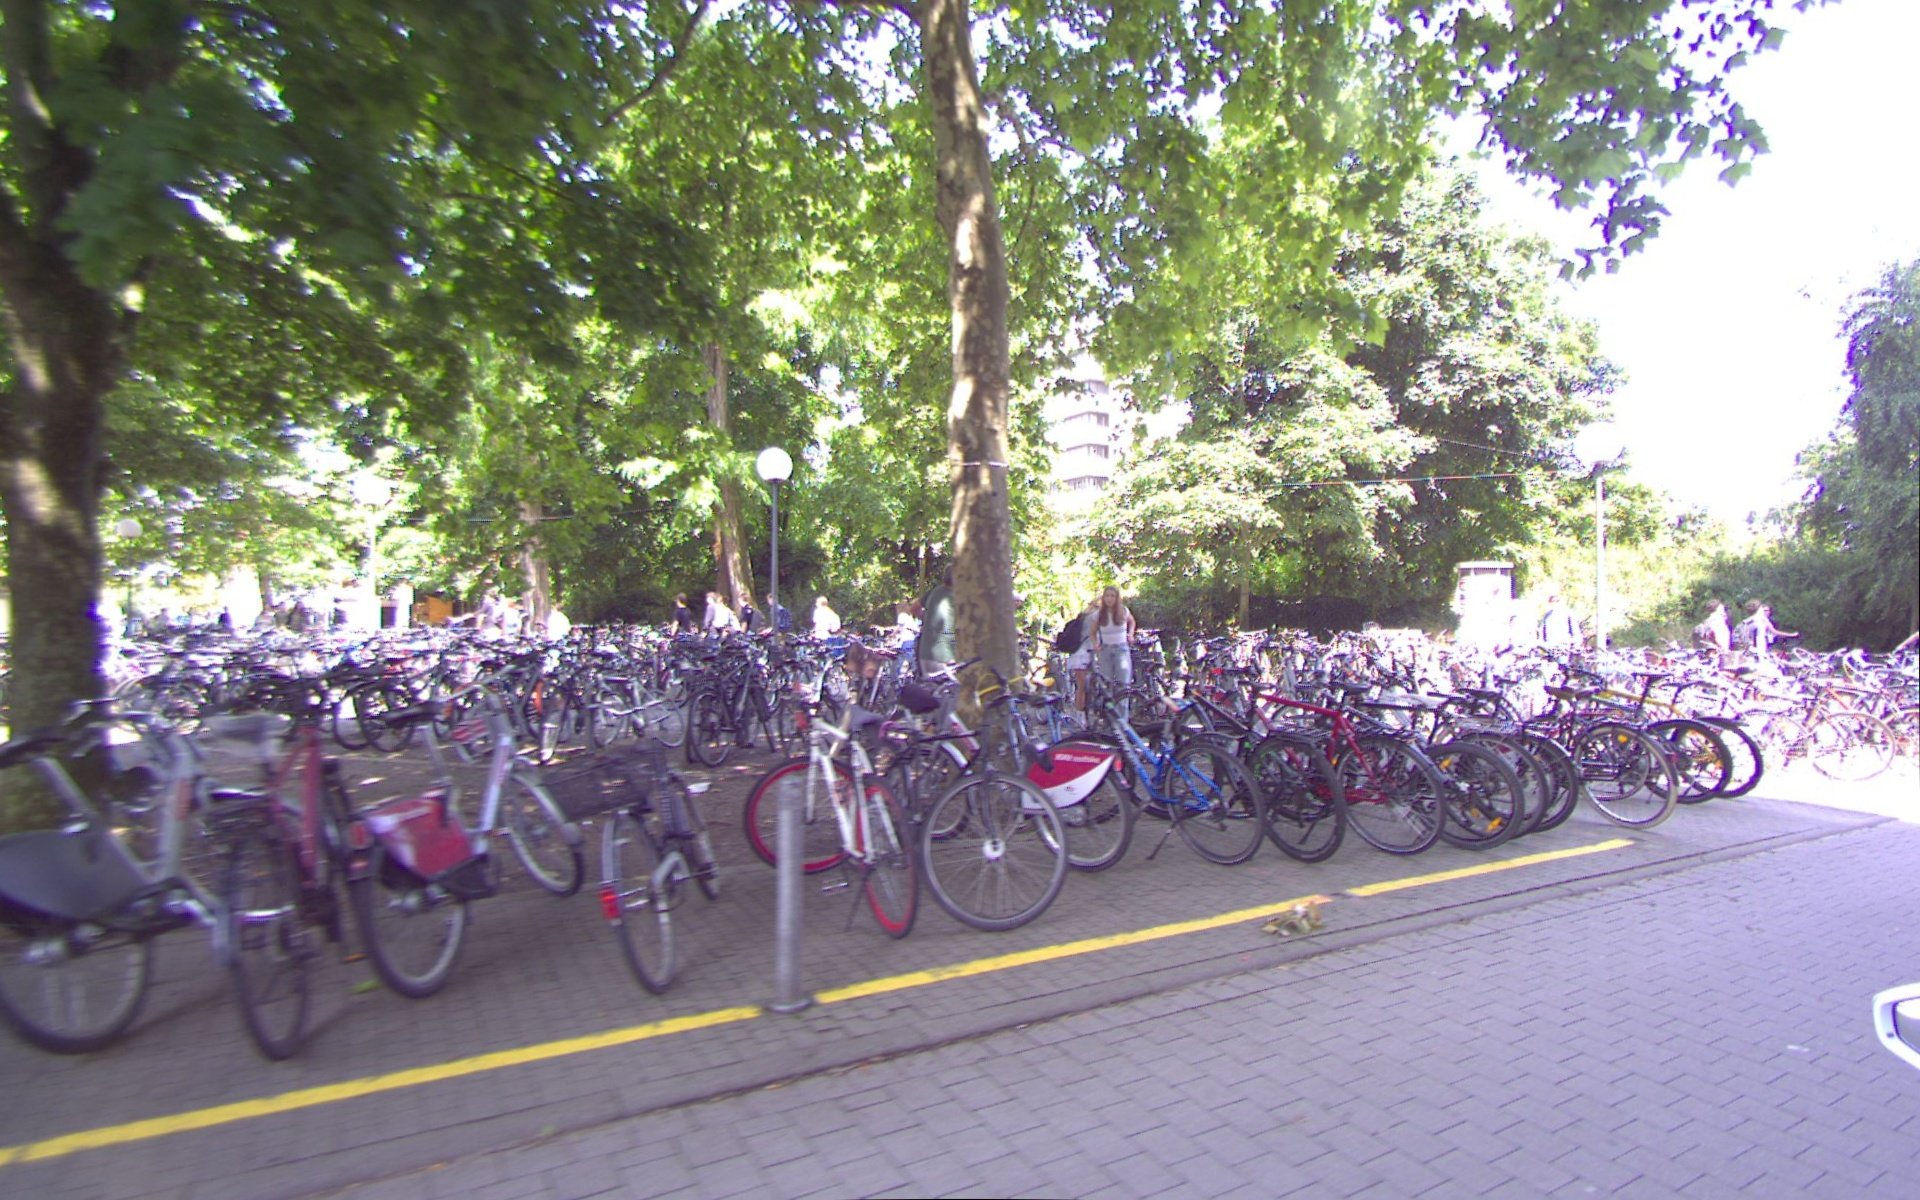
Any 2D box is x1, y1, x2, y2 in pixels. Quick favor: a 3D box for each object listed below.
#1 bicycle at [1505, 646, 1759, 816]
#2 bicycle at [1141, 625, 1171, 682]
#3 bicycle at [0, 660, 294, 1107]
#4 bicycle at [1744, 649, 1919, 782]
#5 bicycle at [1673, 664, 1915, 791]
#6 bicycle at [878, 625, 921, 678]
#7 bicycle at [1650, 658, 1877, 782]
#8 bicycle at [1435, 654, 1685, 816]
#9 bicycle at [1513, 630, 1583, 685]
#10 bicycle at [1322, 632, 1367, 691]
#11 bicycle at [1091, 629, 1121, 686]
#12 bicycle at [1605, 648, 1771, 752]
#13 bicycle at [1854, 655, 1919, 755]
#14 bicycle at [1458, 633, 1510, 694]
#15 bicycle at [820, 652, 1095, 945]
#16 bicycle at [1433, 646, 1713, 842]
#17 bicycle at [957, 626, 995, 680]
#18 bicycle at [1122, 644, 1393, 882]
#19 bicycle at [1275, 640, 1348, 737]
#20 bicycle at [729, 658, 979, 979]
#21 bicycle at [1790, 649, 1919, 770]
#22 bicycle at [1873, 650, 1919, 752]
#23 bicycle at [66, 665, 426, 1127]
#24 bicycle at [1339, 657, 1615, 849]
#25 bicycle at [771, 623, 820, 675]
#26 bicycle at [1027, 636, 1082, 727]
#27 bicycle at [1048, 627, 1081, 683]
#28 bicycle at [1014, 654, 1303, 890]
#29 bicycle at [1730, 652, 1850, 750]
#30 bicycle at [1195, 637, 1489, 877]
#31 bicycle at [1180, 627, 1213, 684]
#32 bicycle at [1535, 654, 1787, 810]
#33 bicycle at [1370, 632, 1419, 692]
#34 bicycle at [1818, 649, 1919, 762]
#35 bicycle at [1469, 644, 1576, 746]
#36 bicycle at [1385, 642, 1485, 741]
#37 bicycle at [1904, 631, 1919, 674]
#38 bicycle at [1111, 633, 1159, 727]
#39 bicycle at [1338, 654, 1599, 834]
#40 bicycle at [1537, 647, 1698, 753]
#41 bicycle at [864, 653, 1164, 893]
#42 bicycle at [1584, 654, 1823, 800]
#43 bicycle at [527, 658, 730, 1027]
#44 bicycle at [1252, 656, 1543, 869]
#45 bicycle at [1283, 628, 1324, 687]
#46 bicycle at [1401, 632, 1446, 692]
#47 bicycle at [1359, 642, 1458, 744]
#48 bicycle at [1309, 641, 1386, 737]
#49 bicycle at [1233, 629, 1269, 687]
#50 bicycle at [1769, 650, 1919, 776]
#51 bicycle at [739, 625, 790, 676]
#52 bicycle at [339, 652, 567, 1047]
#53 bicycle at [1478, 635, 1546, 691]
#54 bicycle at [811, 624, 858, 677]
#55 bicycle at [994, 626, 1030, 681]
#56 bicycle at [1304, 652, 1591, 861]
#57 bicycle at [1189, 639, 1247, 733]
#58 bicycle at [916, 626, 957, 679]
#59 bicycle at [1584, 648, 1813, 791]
[{"bbox_3d":[5.519,1.021,8.342,0.470,1.203,1.679,1,0,-41],"label":"bicycle"},{"bbox_3d":[4.147,1.110,21.309,0.507,1.125,1.779,1,0,8],"label":"bicycle"},{"bbox_3d":[-2.921,0.811,3.463,0.553,1.123,1.624,1,0,-16],"label":"bicycle"},{"bbox_3d":[8.874,1.121,9.975,1.676,1.184,0.471,1,0,44],"label":"bicycle"},{"bbox_3d":[7.765,1.164,9.432,1.667,1.032,0.474,1,0,25],"label":"bicycle"},{"bbox_3d":[-1.362,1.147,22.722,0.507,1.125,1.779,1,0,12],"label":"bicycle"},{"bbox_3d":[7.881,1.148,9.934,1.667,1.076,0.474,1,0,25],"label":"bicycle"},{"bbox_3d":[4.908,1.049,8.310,0.561,1.123,1.679,1,0,-41],"label":"bicycle"},{"bbox_3d":[12.996,1.257,22.249,0.465,1.125,1.778,1,0,-1],"label":"bicycle"},{"bbox_3d":[8.006,1.252,20.970,0.464,1.125,1.779,1,0,8],"label":"bicycle"},{"bbox_3d":[3.128,1.196,21.474,0.507,1.125,1.779,1,0,12],"label":"bicycle"},{"bbox_3d":[8.809,1.175,12.238,0.466,1.098,1.693,1,0,-17],"label":"bicycle"},{"bbox_3d":[11.321,1.222,11.399,0.469,1.106,1.682,1,0,-36],"label":"bicycle"},{"bbox_3d":[10.389,1.231,19.960,0.464,1.125,1.779,1,0,13],"label":"bicycle"},{"bbox_3d":[-0.090,0.877,5.067,0.492,1.141,1.724,1,0,-34],"label":"bicycle"},{"bbox_3d":[4.467,0.983,7.427,0.532,1.214,1.681,1,0,-38],"label":"bicycle"},{"bbox_3d":[0.379,1.171,22.556,0.507,1.125,1.779,1,0,12],"label":"bicycle"},{"bbox_3d":[1.756,0.905,6.210,0.491,1.194,1.726,1,0,-30],"label":"bicycle"},{"bbox_3d":[4.477,1.096,12.876,0.464,1.098,1.700,1,0,5],"label":"bicycle"},{"bbox_3d":[-0.572,0.875,4.675,0.491,1.123,1.727,1,0,-30],"label":"bicycle"},{"bbox_3d":[9.921,1.147,10.638,0.466,1.184,1.775,1,0,-17],"label":"bicycle"},{"bbox_3d":[11.731,1.201,11.617,0.470,1.174,1.681,1,0,-38],"label":"bicycle"},{"bbox_3d":[-2.333,0.837,3.499,0.489,1.123,1.624,1,0,-16],"label":"bicycle"},{"bbox_3d":[3.601,1.008,7.126,0.470,1.123,1.679,1,0,-41],"label":"bicycle"},{"bbox_3d":[-3.775,1.112,23.219,0.507,1.125,1.779,1,0,12],"label":"bicycle"},{"bbox_3d":[1.293,1.060,13.546,0.464,1.098,1.700,1,0,14],"label":"bicycle"},{"bbox_3d":[2.269,1.158,21.678,0.507,1.125,1.779,1,0,12],"label":"bicycle"},{"bbox_3d":[1.110,0.926,5.964,0.493,1.123,1.719,1,0,-42],"label":"bicycle"},{"bbox_3d":[10.096,1.196,12.203,1.678,1.098,0.505,1,0,-28],"label":"bicycle"},{"bbox_3d":[2.328,0.890,6.326,0.492,1.252,1.722,1,0,-37],"label":"bicycle"},{"bbox_3d":[5.007,1.149,21.344,0.507,1.125,1.779,1,0,8],"label":"bicycle"},{"bbox_3d":[5.961,1.064,8.618,0.578,1.123,1.679,1,0,-41],"label":"bicycle"},{"bbox_3d":[8.858,1.247,20.535,0.464,1.125,1.779,1,0,8],"label":"bicycle"},{"bbox_3d":[10.631,1.174,11.093,0.469,1.184,1.682,1,0,-36],"label":"bicycle"},{"bbox_3d":[6.824,1.116,12.263,0.464,1.098,1.700,1,0,5],"label":"bicycle"},{"bbox_3d":[5.949,1.107,12.659,0.465,1.098,1.700,1,0,1],"label":"bicycle"},{"bbox_3d":[25.225,1.370,25.789,1.669,1.061,0.473,2,1,-9],"label":"bicycle"},{"bbox_3d":[2.263,1.006,13.114,0.464,1.098,1.700,1,0,5],"label":"bicycle"},{"bbox_3d":[3.739,1.005,7.509,0.470,1.123,1.679,1,0,-41],"label":"bicycle"},{"bbox_3d":[7.759,1.141,11.943,0.466,1.098,1.693,1,0,-16],"label":"bicycle"},{"bbox_3d":[0.263,0.906,5.747,1.712,1.123,0.495,1,0,36],"label":"bicycle"},{"bbox_3d":[6.581,1.089,8.990,1.670,1.123,0.473,1,0,33],"label":"bicycle"},{"bbox_3d":[-1.294,0.849,4.201,0.564,1.123,1.737,1,0,-11],"label":"bicycle"},{"bbox_3d":[2.765,0.965,6.512,0.493,1.123,1.679,1,0,-40],"label":"bicycle"},{"bbox_3d":[7.047,1.163,20.657,0.464,1.125,1.779,1,0,8],"label":"bicycle"},{"bbox_3d":[9.374,1.236,20.351,0.464,1.125,1.779,1,0,13],"label":"bicycle"},{"bbox_3d":[5.456,1.098,12.302,0.465,1.098,1.700,1,0,1],"label":"bicycle"},{"bbox_3d":[4.951,1.103,12.925,0.464,1.098,1.700,1,0,5],"label":"bicycle"},{"bbox_3d":[6.036,1.177,20.872,0.464,1.125,1.779,1,0,8],"label":"bicycle"},{"bbox_3d":[9.348,1.136,10.227,0.471,1.184,1.678,1,0,-42],"label":"bicycle"},{"bbox_3d":[-4.519,1.154,23.356,0.507,1.125,1.779,1,0,12],"label":"bicycle"},{"bbox_3d":[-1.916,0.826,3.989,0.489,1.159,1.624,1,0,-16],"label":"bicycle"},{"bbox_3d":[12.133,1.363,22.136,0.465,1.125,1.778,1,0,-1],"label":"bicycle"},{"bbox_3d":[-2.870,1.137,23.106,0.507,1.125,1.779,1,0,12],"label":"bicycle"},{"bbox_3d":[1.160,1.153,22.228,0.507,1.125,1.779,1,0,12],"label":"bicycle"},{"bbox_3d":[3.218,0.971,6.764,0.470,1.161,1.679,1,0,-41],"label":"bicycle"},{"bbox_3d":[3.353,1.086,13.156,0.464,1.098,1.700,1,0,5],"label":"bicycle"},{"bbox_3d":[-0.514,1.157,22.604,0.507,1.125,1.779,1,0,12],"label":"bicycle"},{"bbox_3d":[6.826,1.071,9.385,1.670,1.173,0.473,1,0,33],"label":"bicycle"}]
